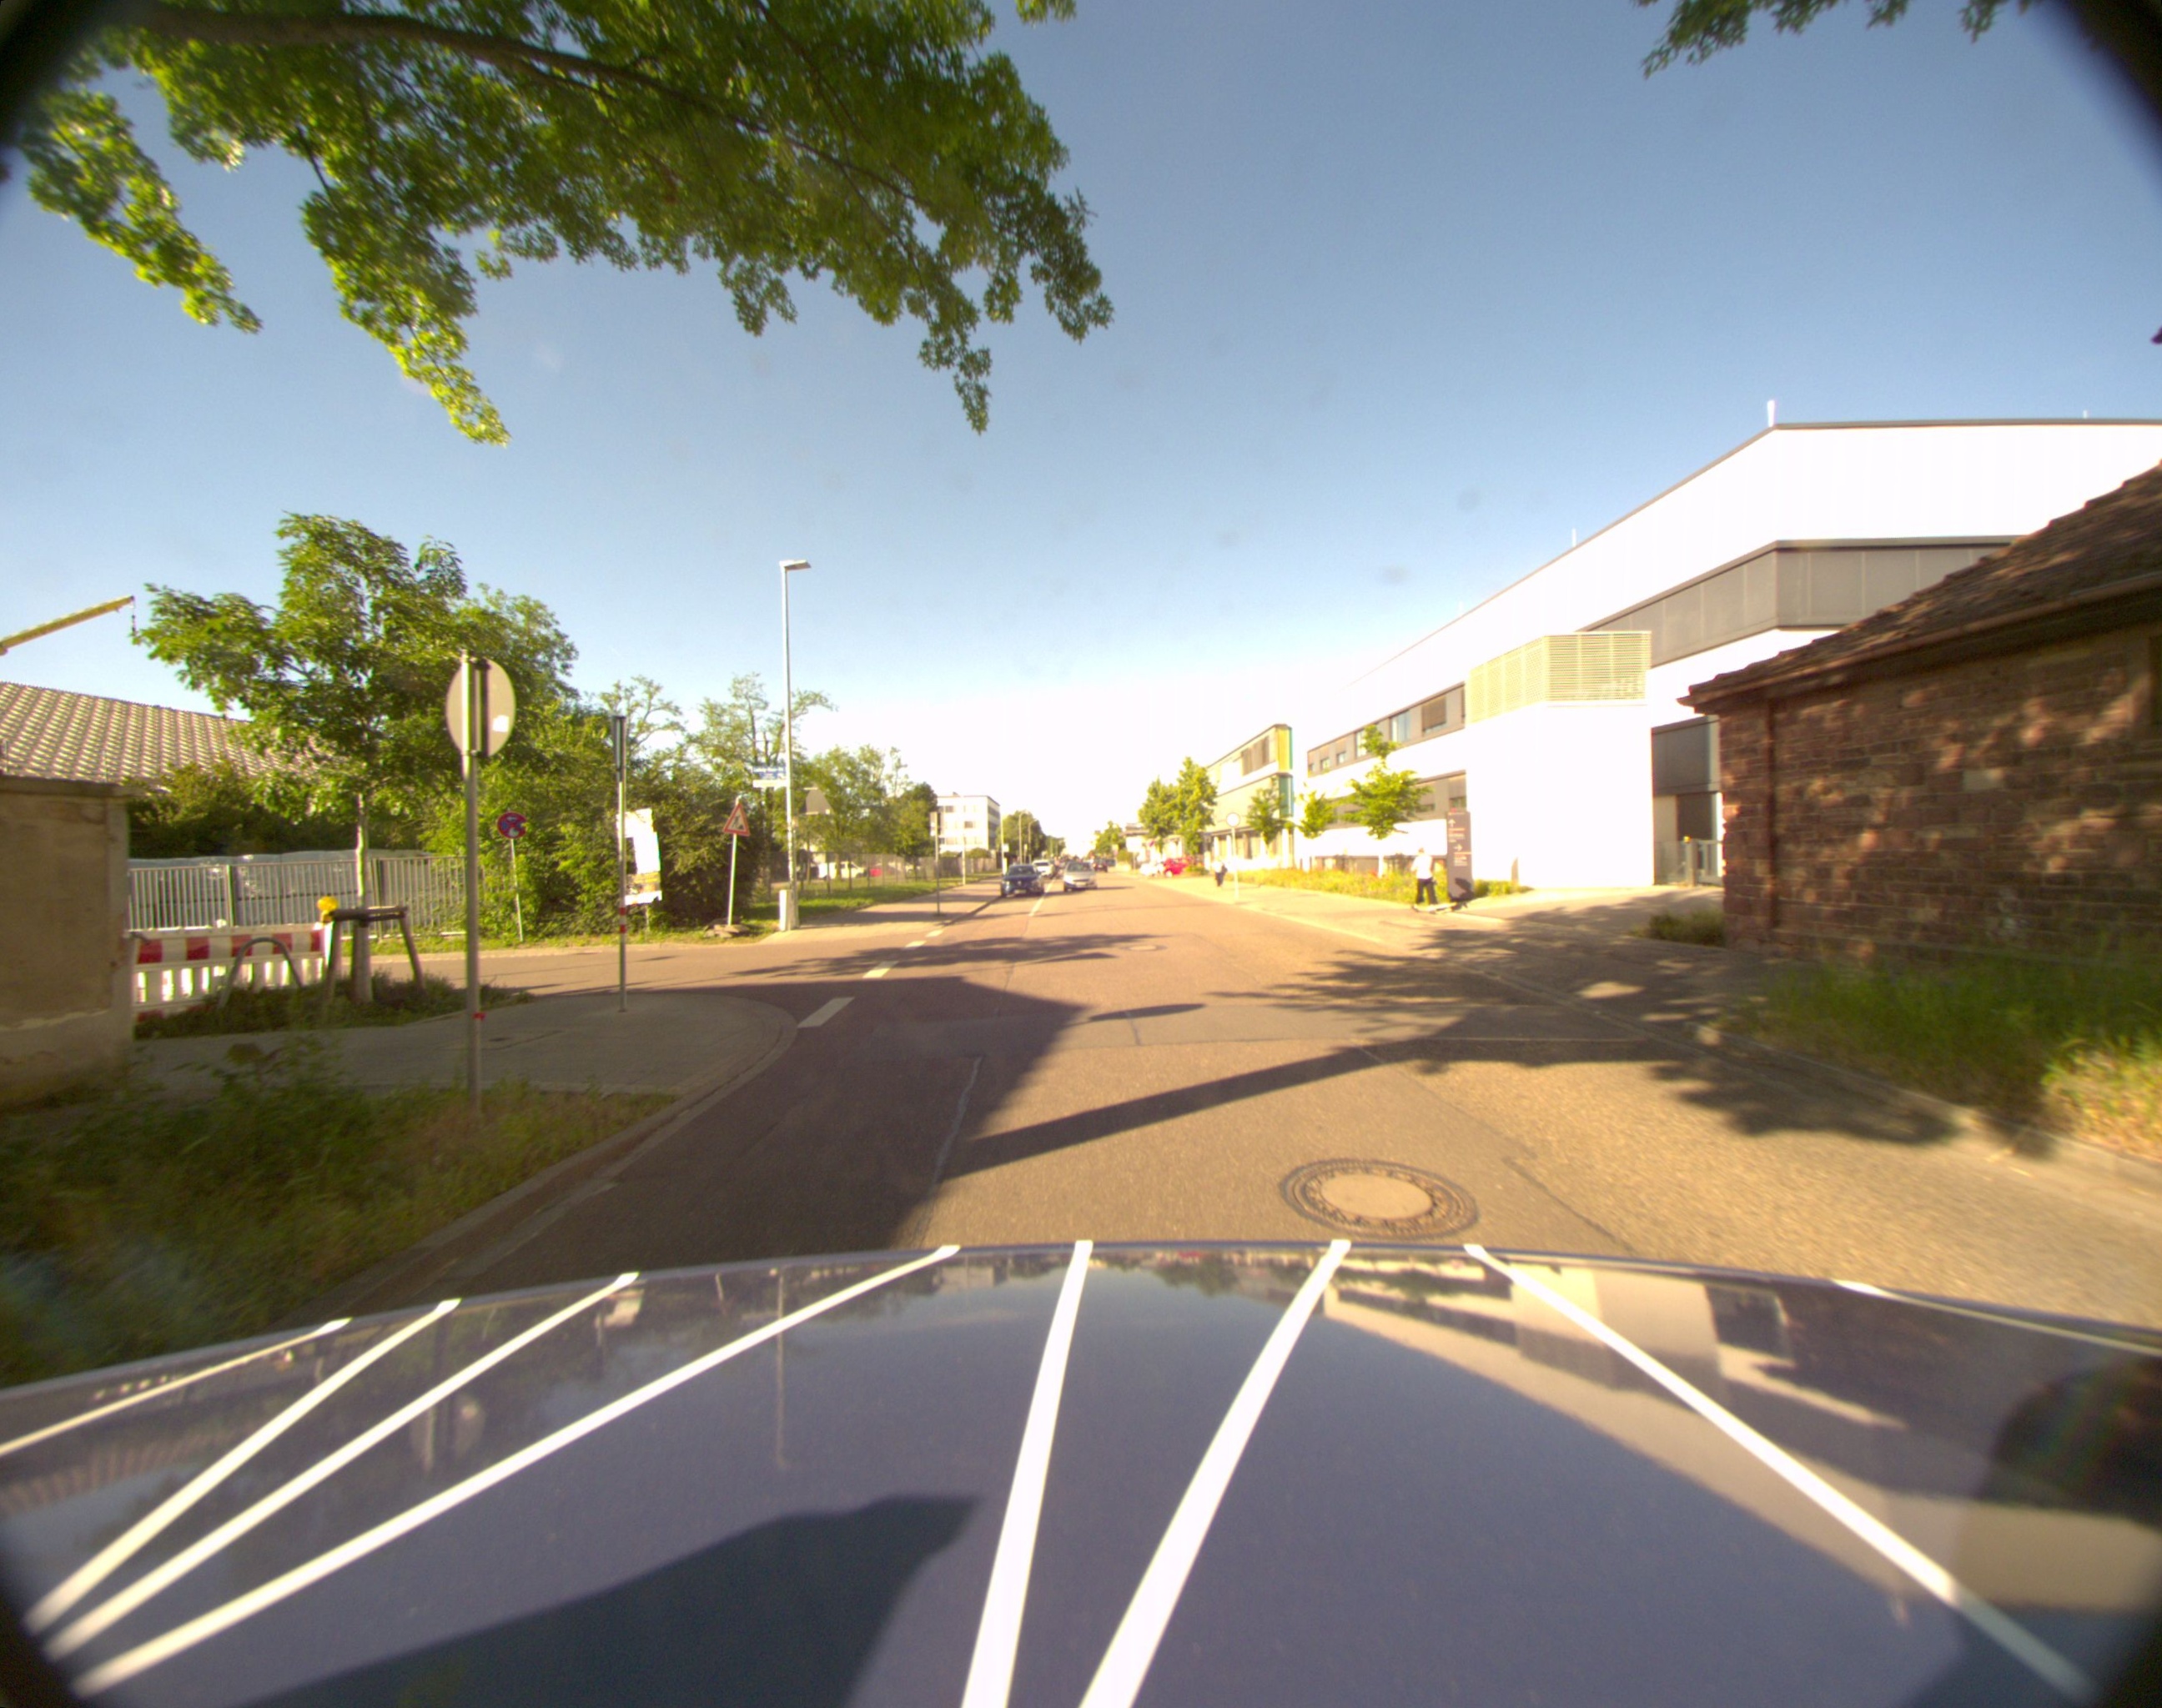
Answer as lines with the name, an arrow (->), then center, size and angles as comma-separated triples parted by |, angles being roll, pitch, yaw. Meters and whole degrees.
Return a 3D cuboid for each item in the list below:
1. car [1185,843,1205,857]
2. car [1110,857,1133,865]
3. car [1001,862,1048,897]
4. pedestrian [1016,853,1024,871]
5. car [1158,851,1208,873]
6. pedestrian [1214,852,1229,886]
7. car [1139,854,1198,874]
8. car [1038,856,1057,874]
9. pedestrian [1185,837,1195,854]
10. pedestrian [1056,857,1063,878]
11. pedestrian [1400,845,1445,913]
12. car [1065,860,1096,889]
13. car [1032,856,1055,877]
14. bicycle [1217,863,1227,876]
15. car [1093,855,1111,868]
car -> 15.731, -0.526, 104.814 | 1.924, 1.880, 4.710 | -1, 0, -1
car -> 7.409, 1.277, 139.763 | 4.142, 1.458, 1.753 | -2, 0, -2
car -> -2.546, 1.143, 35.042 | 1.822, 1.444, 4.214 | -1, 0, 0
pedestrian -> -5.438, 0.701, 67.532 | 0.540, 1.602, 0.683 | -3, 1, 0
car -> 7.819, 0.595, 58.410 | 3.642, 1.460, 1.615 | -3, 0, 6
pedestrian -> 6.377, 0.660, 34.554 | 0.539, 1.515, 0.607 | -2, 1, 0
car -> 6.919, 0.765, 60.512 | 4.522, 1.359, 1.700 | -3, 0, 2
car -> -3.158, 1.006, 71.009 | 1.705, 1.479, 3.979 | -3, 0, -4
pedestrian -> 10.494, -0.802, 73.466 | 0.775, 1.540, 0.780 | -3, 1, -1
pedestrian -> -1.818, 1.128, 63.827 | 0.522, 1.699, 0.522 | -4, 1, -5
pedestrian -> 8.199, 0.583, 18.276 | 0.522, 1.553, 1.096 | -2, 0, -2
car -> -0.001, 1.024, 39.862 | 1.551, 1.389, 3.454 | -2, 0, 1
car -> -3.099, 1.020, 63.275 | 1.818, 1.579, 4.261 | -3, 0, -3
bicycle -> 12.566, 1.365, 67.805 | 0.536, 1.105, 1.861 | -1, 0, 0
car -> 2.470, 0.893, 89.656 | 1.767, 1.433, 4.536 | -2, 0, -3
